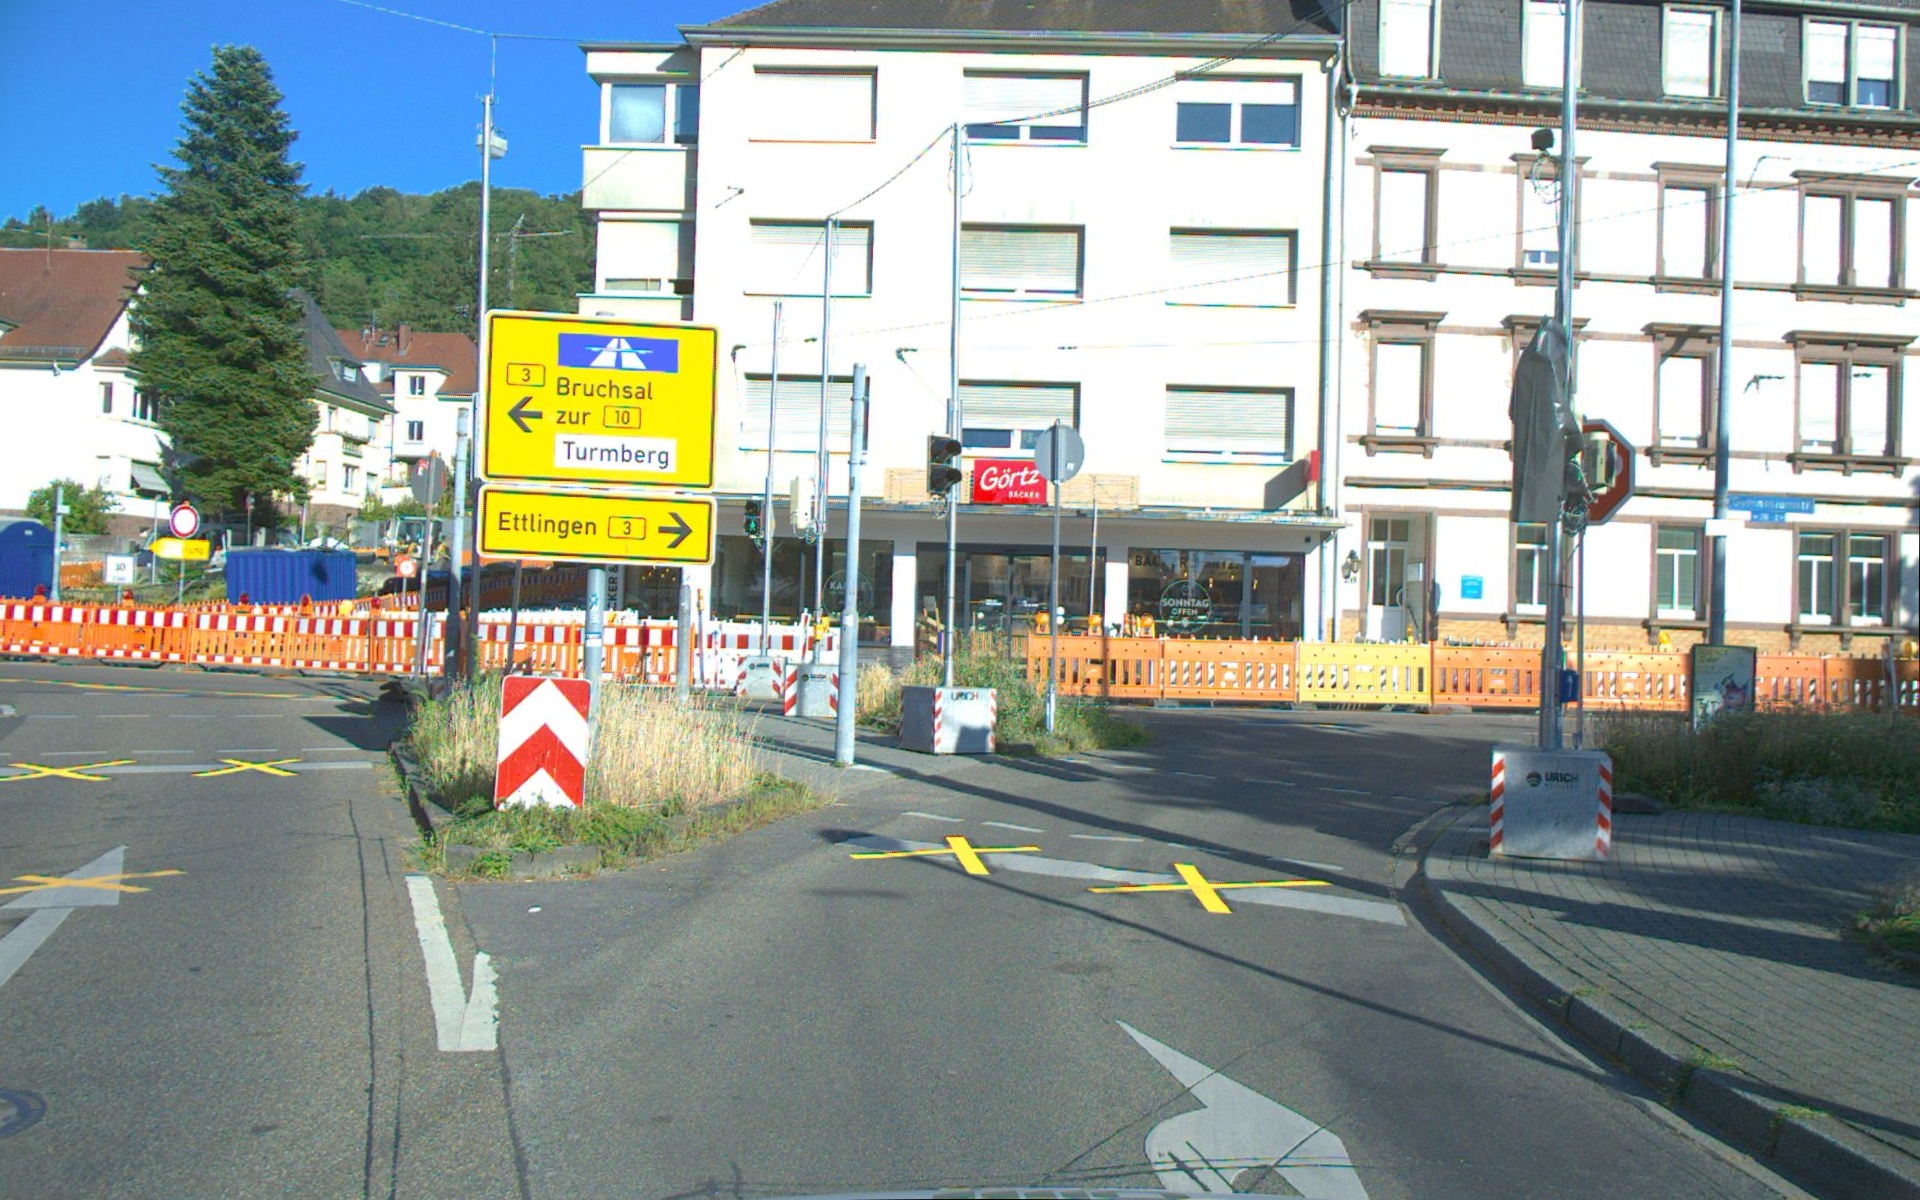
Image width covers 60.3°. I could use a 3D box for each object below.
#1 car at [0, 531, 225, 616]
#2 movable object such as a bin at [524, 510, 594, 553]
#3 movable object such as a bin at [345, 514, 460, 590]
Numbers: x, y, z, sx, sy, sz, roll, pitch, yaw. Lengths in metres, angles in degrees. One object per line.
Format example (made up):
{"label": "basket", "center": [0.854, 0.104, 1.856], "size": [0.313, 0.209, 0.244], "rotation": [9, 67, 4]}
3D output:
{"label": "car", "center": [-23.630, -0.670, 46.313], "size": [2.528, 2.158, 6.156], "rotation": [1, -1, 10]}
{"label": "movable object such as a bin", "center": [-23.081, -3.928, 95.503], "size": [2.512, 2.159, 5.785], "rotation": [1, -1, 1]}
{"label": "movable object such as a bin", "center": [-20.061, -1.682, 59.699], "size": [1.907, 2.538, 4.555], "rotation": [1, -1, 11]}
